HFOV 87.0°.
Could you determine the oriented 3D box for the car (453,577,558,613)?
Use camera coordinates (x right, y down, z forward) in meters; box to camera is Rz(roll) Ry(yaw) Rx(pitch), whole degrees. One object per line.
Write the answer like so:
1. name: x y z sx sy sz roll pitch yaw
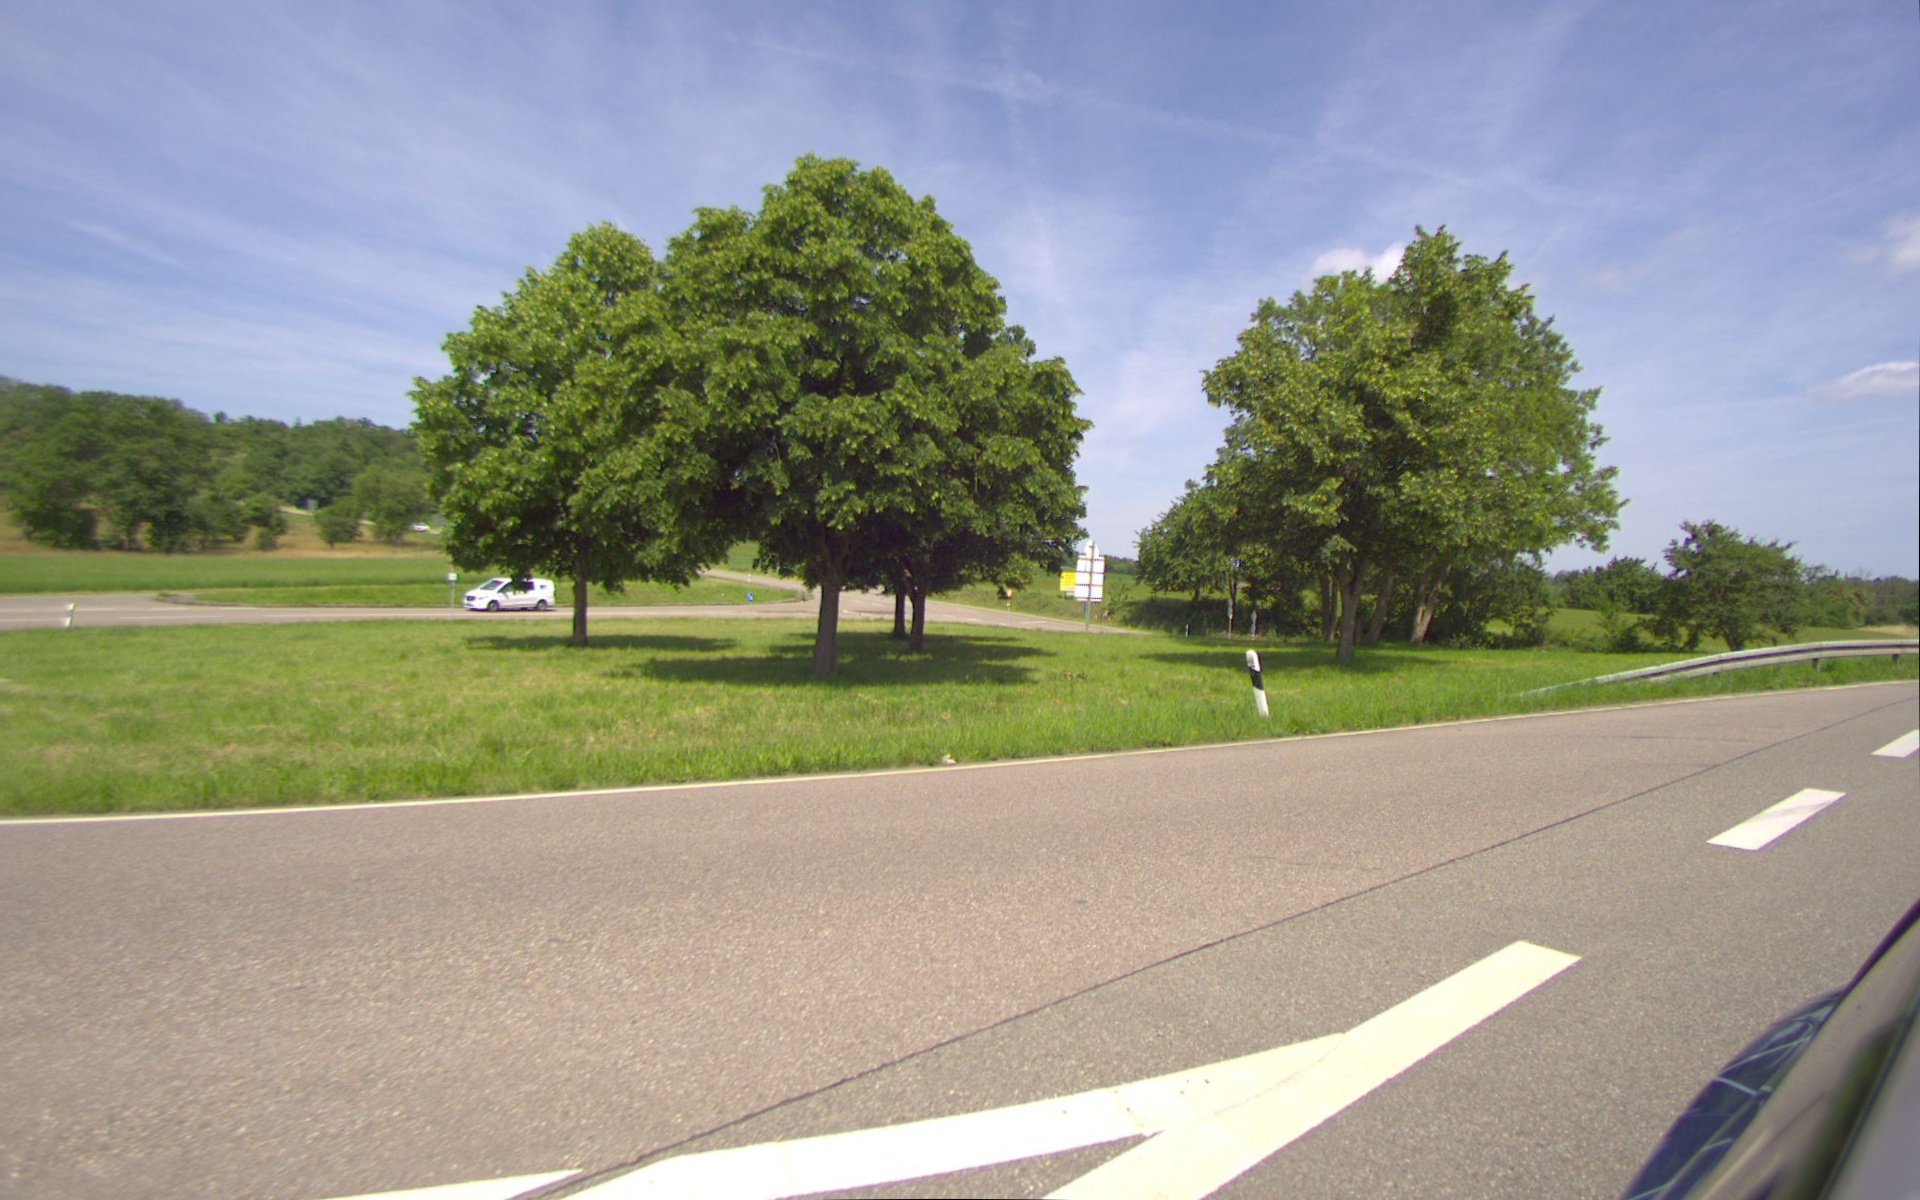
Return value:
1. car: -26.243 -0.284 58.644 1.985 1.869 5.362 4 2 31
